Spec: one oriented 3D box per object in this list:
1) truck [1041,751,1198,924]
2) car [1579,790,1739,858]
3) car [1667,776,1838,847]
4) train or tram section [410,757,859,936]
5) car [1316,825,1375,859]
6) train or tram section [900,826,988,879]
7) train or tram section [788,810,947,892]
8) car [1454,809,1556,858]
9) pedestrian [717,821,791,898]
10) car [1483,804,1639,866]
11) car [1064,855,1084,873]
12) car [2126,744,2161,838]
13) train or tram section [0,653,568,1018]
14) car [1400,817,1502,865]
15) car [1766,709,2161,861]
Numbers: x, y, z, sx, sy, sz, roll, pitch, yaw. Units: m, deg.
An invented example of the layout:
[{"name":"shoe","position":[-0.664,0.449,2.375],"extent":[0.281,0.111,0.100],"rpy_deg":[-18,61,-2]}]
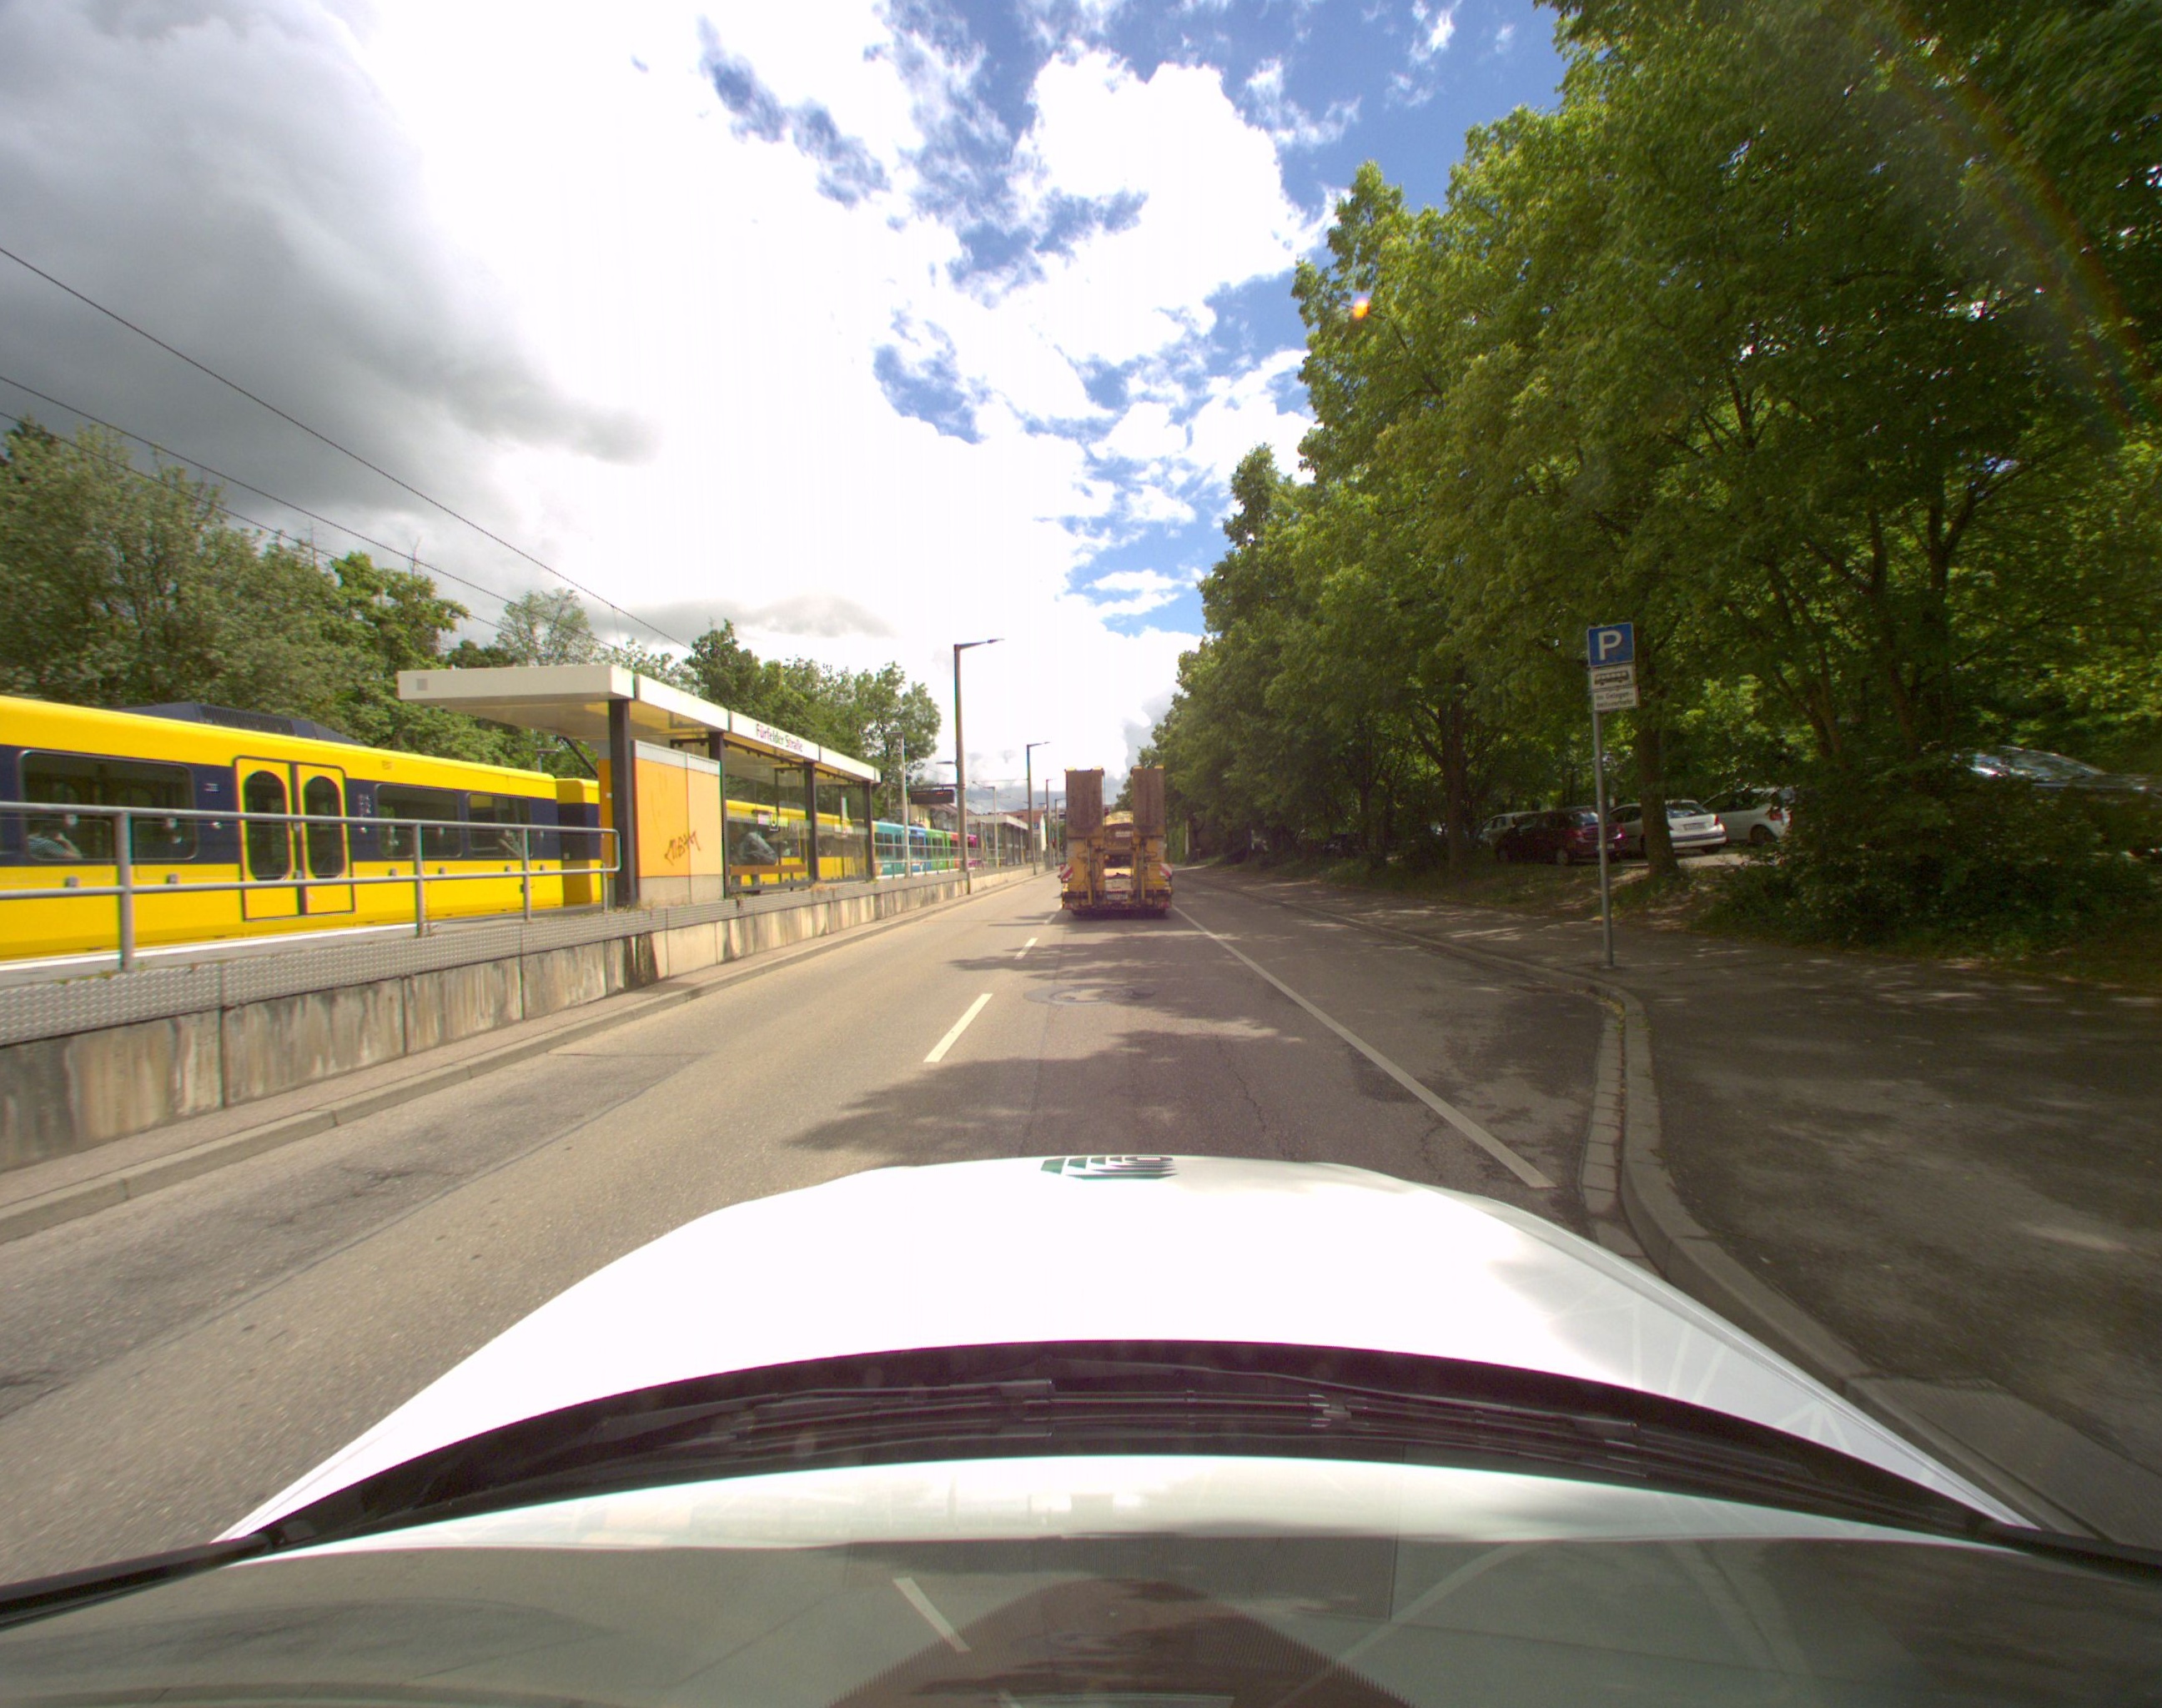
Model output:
[{"name":"truck","position":[0.781,-0.365,25.106],"extent":[3.392,3.732,13.732],"rpy_deg":[-2,0,-1]},{"name":"car","position":[15.184,-0.725,21.664],"extent":[1.685,1.508,3.624],"rpy_deg":[-5,0,3]},{"name":"car","position":[18.187,-1.083,22.298],"extent":[1.685,1.614,3.624],"rpy_deg":[-5,0,3]},{"name":"train or tram section","position":[-11.335,-0.133,25.443],"extent":[3.096,3.465,19.002],"rpy_deg":[-1,0,2]},{"name":"car","position":[13.341,-0.578,41.312],"extent":[1.708,1.507,4.162],"rpy_deg":[-5,-1,2]},{"name":"train or tram section","position":[-10.229,-0.075,63.677],"extent":[3.096,3.465,19.095],"rpy_deg":[-1,0,2]},{"name":"train or tram section","position":[-10.764,-0.104,44.539],"extent":[3.096,3.465,19.204],"rpy_deg":[-1,0,2]},{"name":"car","position":[15.352,-0.696,29.721],"extent":[1.629,1.566,3.990],"rpy_deg":[-4,0,1]},{"name":"pedestrian","position":[-5.462,0.088,13.648],"extent":[0.793,1.186,0.919],"rpy_deg":[-4,0,0]},{"name":"car","position":[12.743,-0.464,21.905],"extent":[1.607,1.413,3.811],"rpy_deg":[-4,0,-6]},{"name":"car","position":[-0.616,0.959,77.956],"extent":[1.714,1.682,4.389],"rpy_deg":[-1,0,2]},{"name":"car","position":[17.419,-1.043,10.758],"extent":[1.607,1.442,4.354],"rpy_deg":[-5,0,2]},{"name":"train or tram section","position":[-11.859,-0.162,6.558],"extent":[3.096,3.465,18.831],"rpy_deg":[-1,0,2]},{"name":"car","position":[13.070,-0.412,29.017],"extent":[1.791,1.464,3.990],"rpy_deg":[-4,0,1]},{"name":"car","position":[12.453,-0.787,11.392],"extent":[1.839,1.662,4.726],"rpy_deg":[-2,0,2]}]
